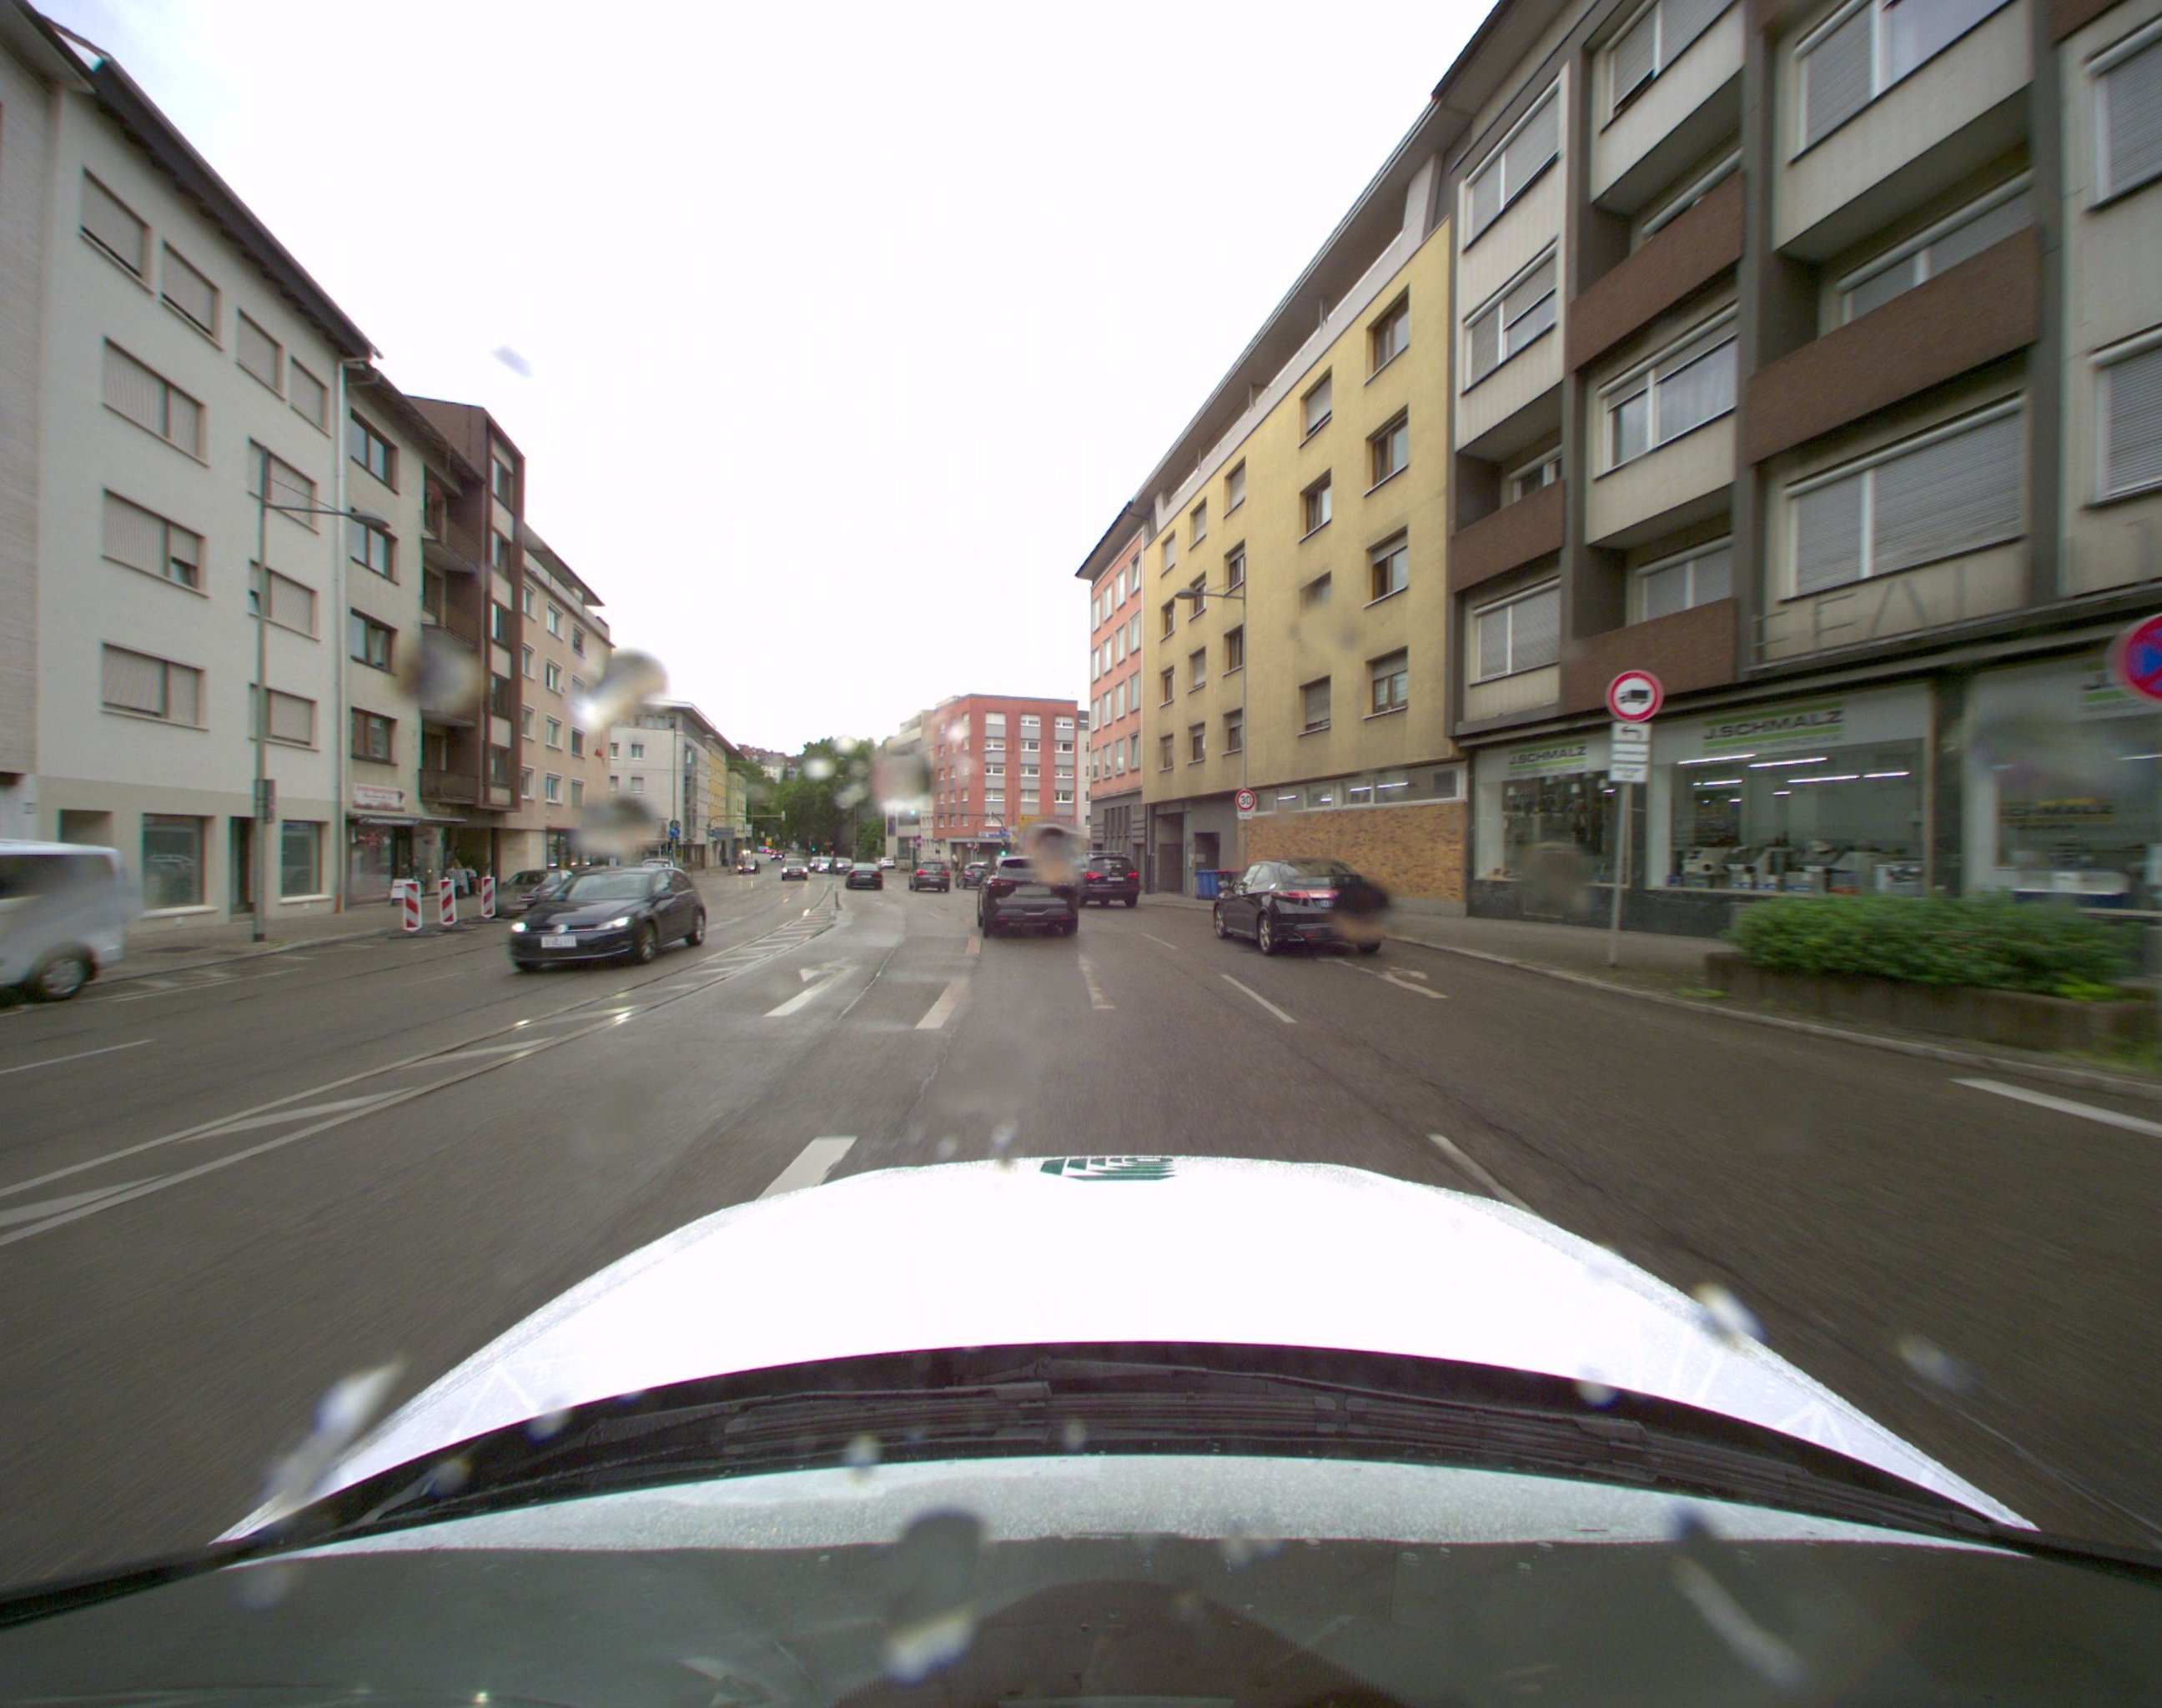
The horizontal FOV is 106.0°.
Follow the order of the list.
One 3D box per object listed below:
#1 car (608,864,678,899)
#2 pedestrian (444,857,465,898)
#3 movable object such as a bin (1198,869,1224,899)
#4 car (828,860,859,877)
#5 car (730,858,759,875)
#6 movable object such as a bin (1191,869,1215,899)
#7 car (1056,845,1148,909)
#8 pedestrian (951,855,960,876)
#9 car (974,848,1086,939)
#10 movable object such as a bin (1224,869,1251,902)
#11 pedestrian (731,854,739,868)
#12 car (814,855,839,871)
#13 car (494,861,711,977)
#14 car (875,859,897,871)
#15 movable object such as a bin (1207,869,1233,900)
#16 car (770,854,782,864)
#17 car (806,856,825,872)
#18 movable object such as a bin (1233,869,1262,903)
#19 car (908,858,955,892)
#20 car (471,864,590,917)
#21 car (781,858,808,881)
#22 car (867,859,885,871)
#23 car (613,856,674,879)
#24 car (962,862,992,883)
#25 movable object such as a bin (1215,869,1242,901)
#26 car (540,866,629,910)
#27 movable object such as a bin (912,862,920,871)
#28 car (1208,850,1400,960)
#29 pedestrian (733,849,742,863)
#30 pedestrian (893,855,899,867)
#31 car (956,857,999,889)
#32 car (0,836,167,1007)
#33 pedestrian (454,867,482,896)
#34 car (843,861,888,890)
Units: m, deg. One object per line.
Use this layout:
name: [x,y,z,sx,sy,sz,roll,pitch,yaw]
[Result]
car: [-20.911,1.256,39.070,1.911,1.554,4.606,-1,-1,-15]
pedestrian: [-24.560,0.911,31.937,0.546,1.583,0.663,1,-1,-31]
movable object such as a bin: [4.653,1.073,29.157,0.682,1.077,0.664,0,-1,-17]
car: [-22.115,1.310,75.747,1.868,1.553,4.185,0,-1,-31]
car: [-33.152,1.258,80.280,1.692,1.627,3.988,-1,0,-9]
movable object such as a bin: [4.466,1.093,29.830,0.682,1.077,0.664,0,-1,-17]
car: [0.579,0.717,27.244,2.022,1.869,4.880,-1,0,-11]
pedestrian: [-13.345,1.190,86.650,0.827,2.158,0.765,3,-1,-19]
car: [-1.189,0.739,16.860,1.894,1.629,3.986,0,-1,-10]
movable object such as a bin: [5.224,1.038,27.196,0.682,1.077,0.664,0,-1,-17]
pedestrian: [-41.770,0.844,98.318,0.688,1.581,0.648,3,-1,-17]
car: [-25.088,0.882,80.241,1.943,1.527,4.102,0,-1,-24]
car: [-7.441,0.899,13.140,1.684,1.473,3.986,-2,0,-10]
car: [-24.898,1.398,103.896,1.784,1.401,4.540,-1,1,-27]
movable object such as a bin: [4.848,1.053,28.505,0.682,1.077,0.664,0,-1,-17]
car: [-59.870,1.013,159.744,1.999,1.860,3.975,3,-1,-19]
car: [-27.856,1.083,85.364,1.827,1.608,4.401,0,-1,-20]
movable object such as a bin: [5.422,1.032,26.542,0.682,1.077,0.664,0,-1,-17]
car: [-8.016,1.074,43.492,1.951,1.685,3.975,-1,0,-18]
car: [-17.351,1.074,25.945,1.888,1.477,4.947,-1,0,-19]
car: [-21.807,1.181,61.914,1.869,1.647,4.224,-1,0,-21]
car: [-27.603,1.444,109.745,1.722,1.442,4.050,-1,1,-23]
car: [-36.007,1.131,67.063,1.665,1.706,4.025,2,-1,36]
car: [-8.181,1.453,64.401,1.989,1.486,3.996,2,-1,-3]
movable object such as a bin: [5.038,1.044,27.854,0.682,1.077,0.664,0,-1,-17]
car: [-18.929,1.239,31.276,2.000,1.477,4.489,0,0,-19]
movable object such as a bin: [-20.919,1.565,103.328,0.717,1.068,0.776,0,0,-31]
car: [3.446,0.717,13.426,1.780,1.497,4.050,-1,0,-4]
pedestrian: [-44.553,0.246,105.612,0.868,1.788,0.869,3,-1,-19]
pedestrian: [-25.595,0.971,112.712,0.616,1.737,0.674,-1,0,-32]
car: [-6.397,1.141,50.018,1.951,1.816,3.976,-1,0,-17]
car: [-13.707,0.741,8.856,2.118,2.015,5.112,3,-2,-9]
pedestrian: [-25.387,1.134,33.726,0.668,1.148,0.597,0,-1,10]
car: [-11.837,1.126,44.623,2.000,1.388,4.471,3,-1,-19]
